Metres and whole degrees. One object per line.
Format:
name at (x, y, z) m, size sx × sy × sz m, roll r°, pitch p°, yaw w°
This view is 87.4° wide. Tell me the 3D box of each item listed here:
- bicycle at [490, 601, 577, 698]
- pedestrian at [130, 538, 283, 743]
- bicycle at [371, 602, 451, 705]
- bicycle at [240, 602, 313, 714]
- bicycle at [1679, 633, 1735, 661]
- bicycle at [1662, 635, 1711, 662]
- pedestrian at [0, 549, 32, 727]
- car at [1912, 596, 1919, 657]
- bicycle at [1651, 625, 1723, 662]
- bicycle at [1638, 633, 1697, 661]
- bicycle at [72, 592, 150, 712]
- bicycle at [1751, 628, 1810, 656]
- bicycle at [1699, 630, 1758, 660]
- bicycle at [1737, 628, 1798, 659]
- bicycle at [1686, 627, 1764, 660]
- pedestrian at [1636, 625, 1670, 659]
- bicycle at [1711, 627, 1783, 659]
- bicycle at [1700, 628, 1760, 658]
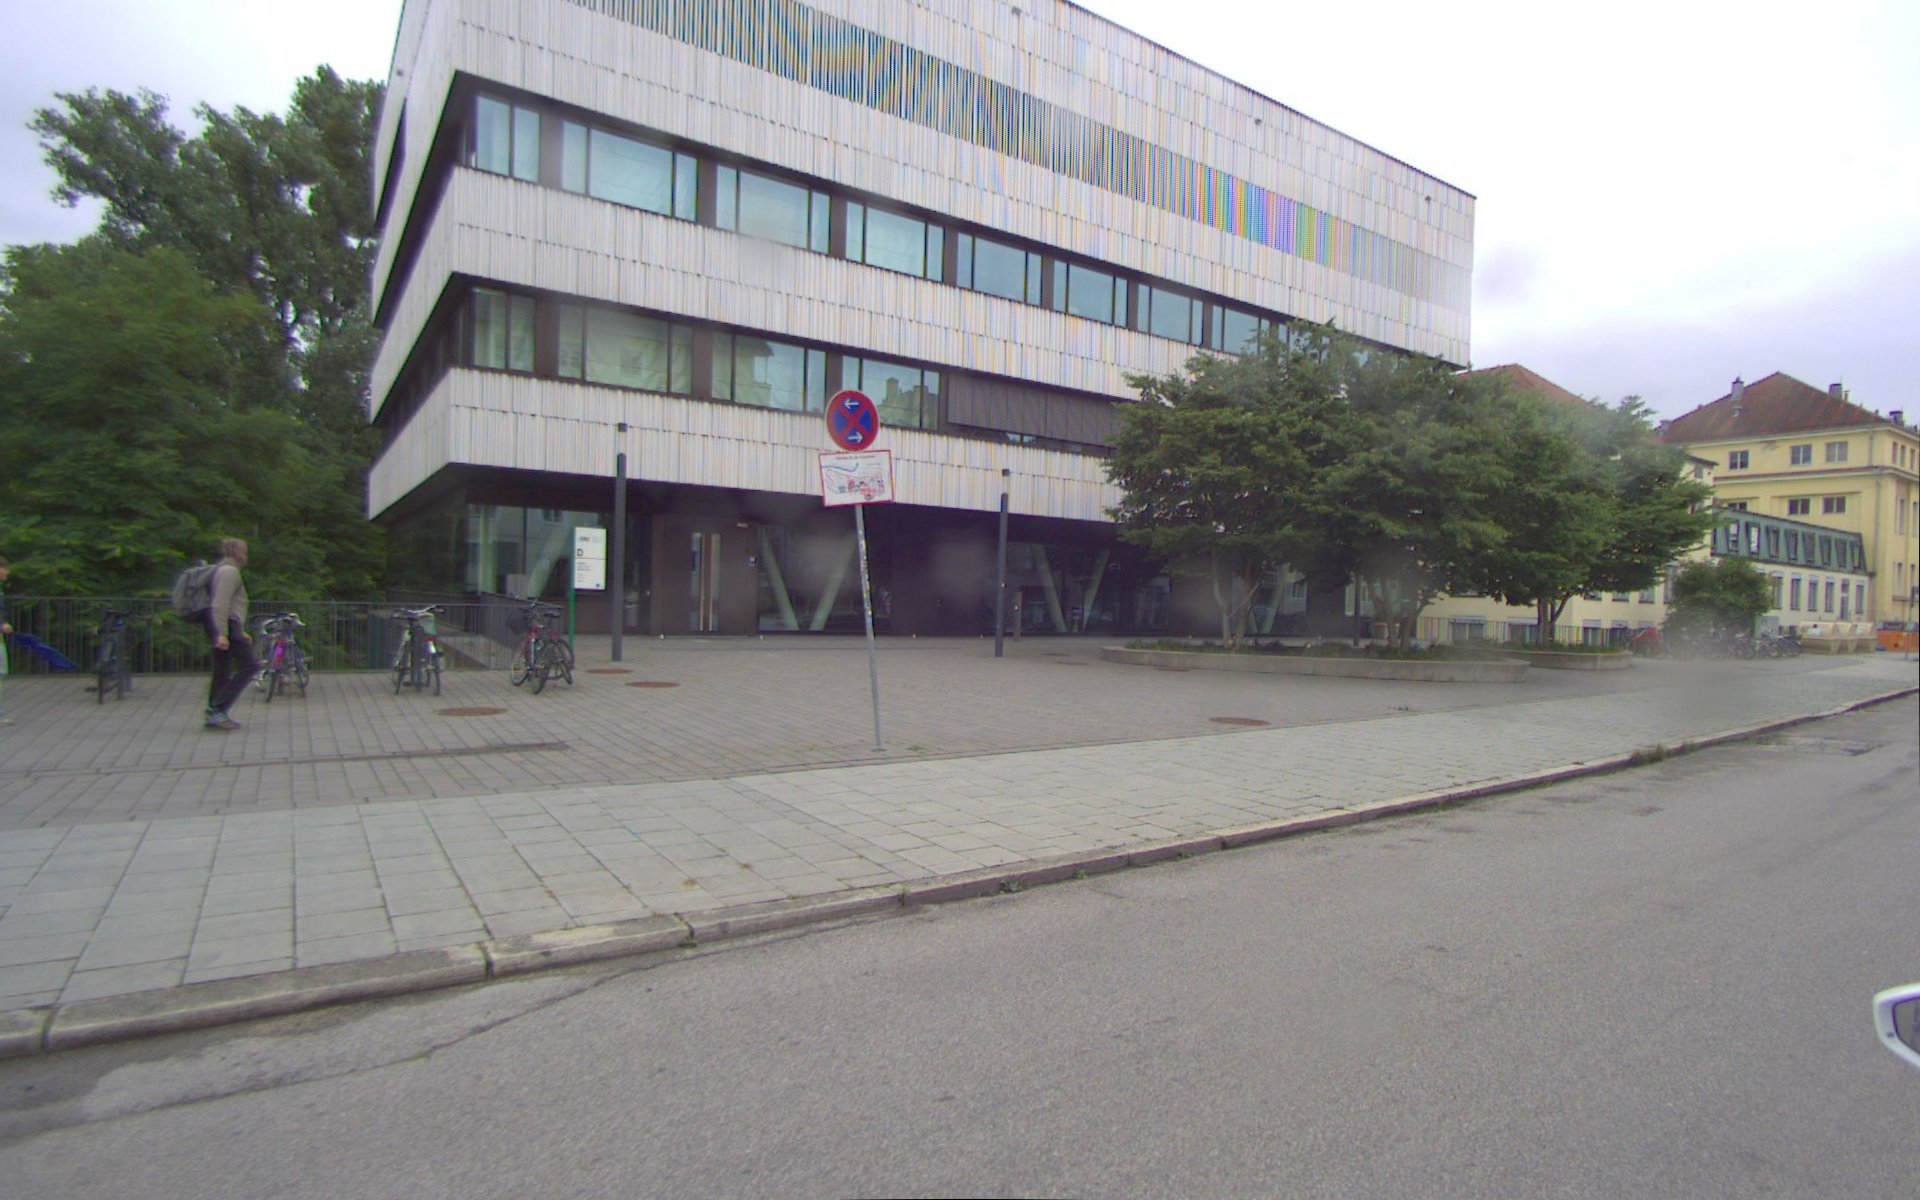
bicycle at (-5.871, 0.632, 13.769) m, size 0.611 × 1.126 × 2.030 m, roll 0°, pitch 3°, yaw -37°
pedestrian at (-7.101, 0.352, 9.476) m, size 0.778 × 1.806 × 1.008 m, roll 4°, pitch 1°, yaw 44°
bicycle at (-7.112, 0.646, 12.963) m, size 0.611 × 1.126 × 2.030 m, roll 0°, pitch 3°, yaw -37°
bicycle at (-8.195, 0.638, 12.008) m, size 0.611 × 1.126 × 2.030 m, roll 0°, pitch 3°, yaw -37°
bicycle at (29.505, 1.845, 39.688) m, size 0.588 × 0.929 × 1.666 m, roll 1°, pitch 2°, yaw -30°
bicycle at (27.037, 1.791, 37.387) m, size 0.434 × 0.874 × 1.363 m, roll 0°, pitch 3°, yaw -34°
pedestrian at (-9.095, 0.340, 9.278) m, size 0.633 × 1.623 × 0.605 m, roll 3°, pitch 3°, yaw 30°
car at (46.198, 1.290, 46.738) m, size 5.910 × 2.751 × 2.399 m, roll 3°, pitch -2°, yaw -43°
bicycle at (27.963, 1.668, 38.670) m, size 0.778 × 1.244 × 2.094 m, roll 1°, pitch 2°, yaw -30°
bicycle at (26.070, 1.736, 37.031) m, size 0.434 × 0.874 × 1.708 m, roll 0°, pitch 3°, yaw -34°
bicycle at (-9.433, 0.522, 11.150) m, size 0.612 × 1.126 × 2.027 m, roll 0°, pitch 3°, yaw -41°
bicycle at (36.515, 1.846, 44.737) m, size 0.669 × 1.107 × 1.895 m, roll 1°, pitch 2°, yaw -30°
bicycle at (30.927, 1.810, 40.451) m, size 0.501 × 1.047 × 1.782 m, roll 1°, pitch 2°, yaw -30°
bicycle at (35.188, 1.883, 43.803) m, size 0.566 × 1.147 × 1.947 m, roll 1°, pitch 2°, yaw -30°
bicycle at (31.276, 1.747, 41.125) m, size 0.419 × 1.222 × 2.541 m, roll 0°, pitch 1°, yaw -30°
pedestrian at (26.245, 1.580, 38.018) m, size 1.030 × 1.178 × 0.713 m, roll 0°, pitch 3°, yaw -36°
bicycle at (33.035, 1.799, 42.219) m, size 0.575 × 1.150 × 2.298 m, roll 1°, pitch 2°, yaw -30°
bicycle at (31.825, 1.766, 41.553) m, size 0.533 × 1.043 × 1.857 m, roll 1°, pitch 2°, yaw -30°
